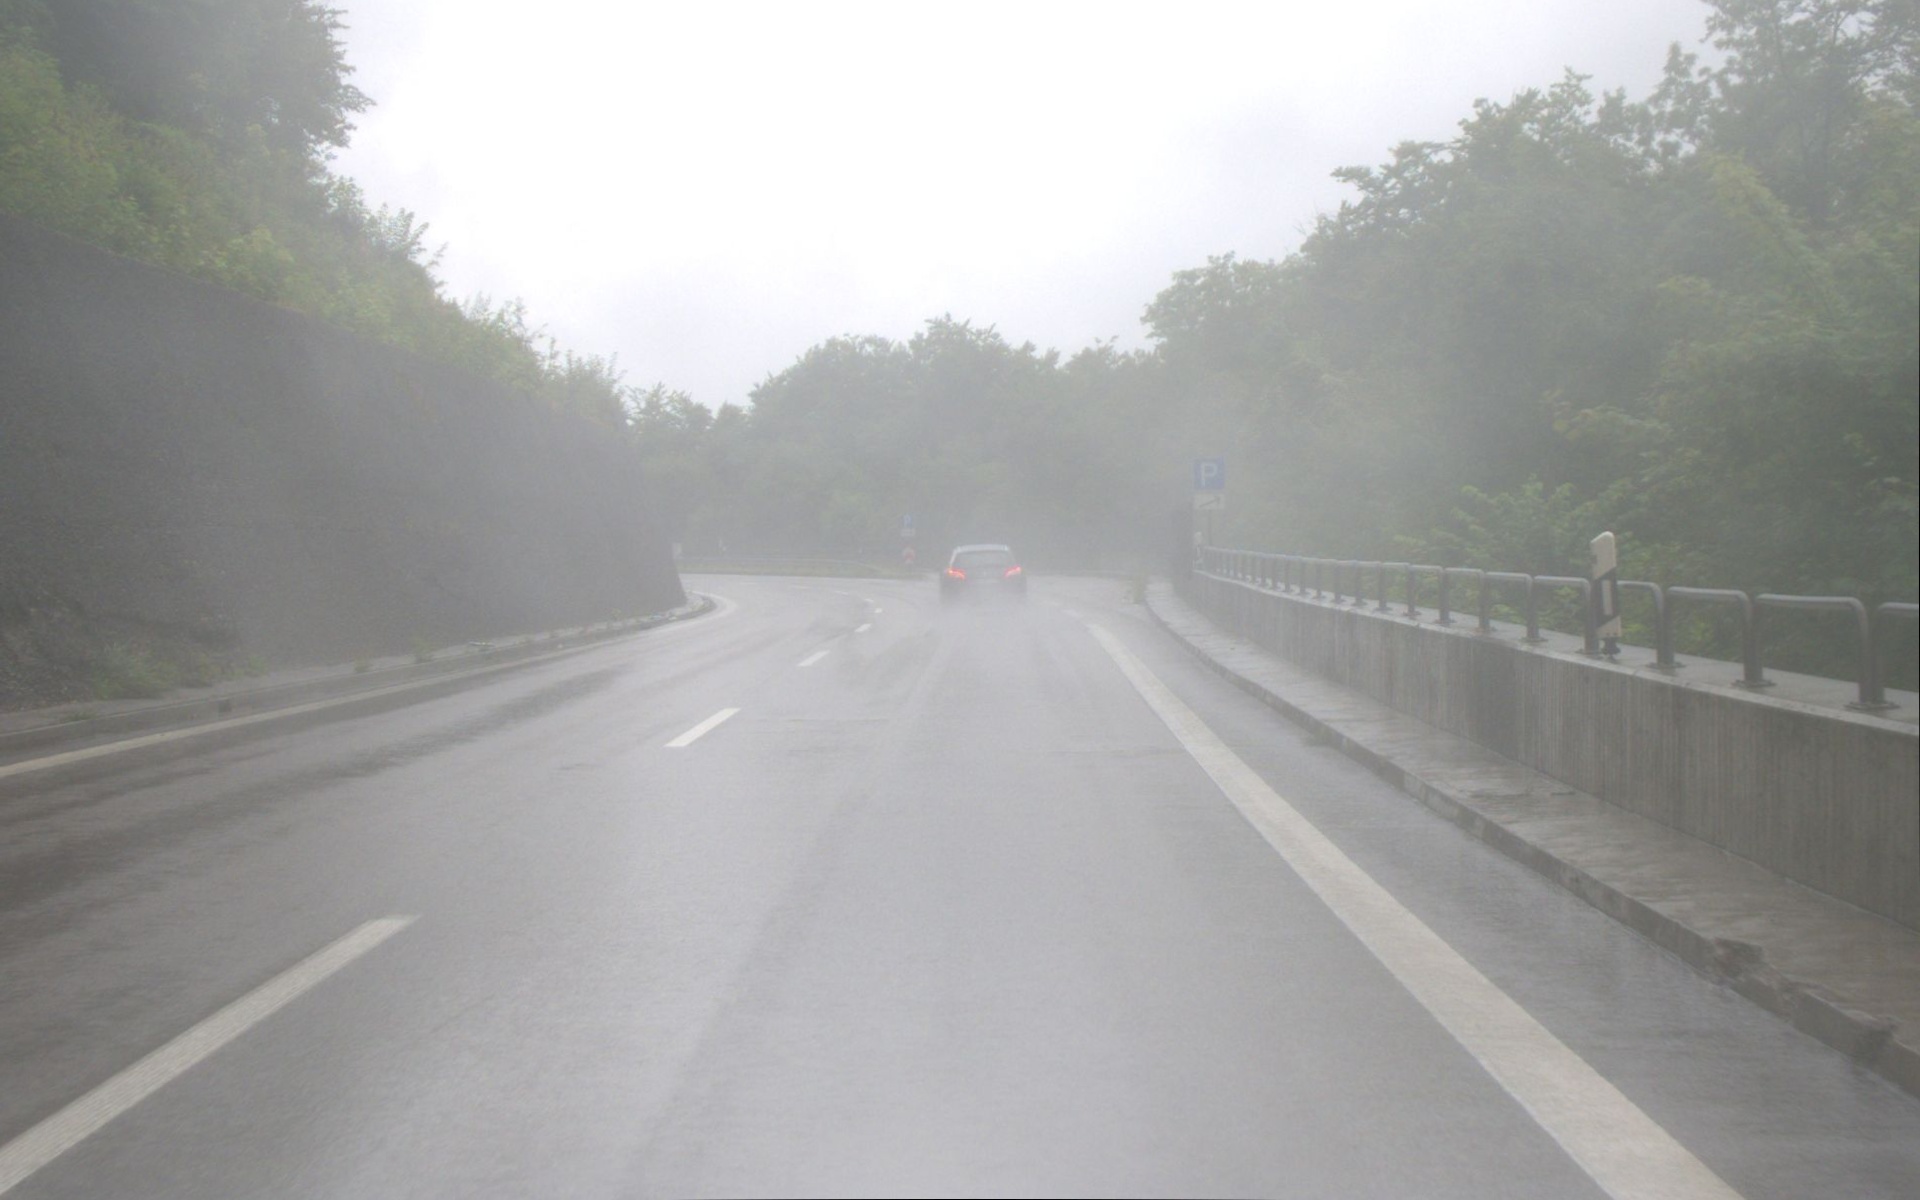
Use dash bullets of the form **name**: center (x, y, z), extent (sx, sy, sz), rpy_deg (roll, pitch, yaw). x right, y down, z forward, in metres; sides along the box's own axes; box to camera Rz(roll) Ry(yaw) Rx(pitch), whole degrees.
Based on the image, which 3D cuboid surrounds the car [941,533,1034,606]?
- **car**: center (0.554, -0.671, 72.965), extent (1.903, 1.494, 4.000), rpy_deg (0, 1, 0)
